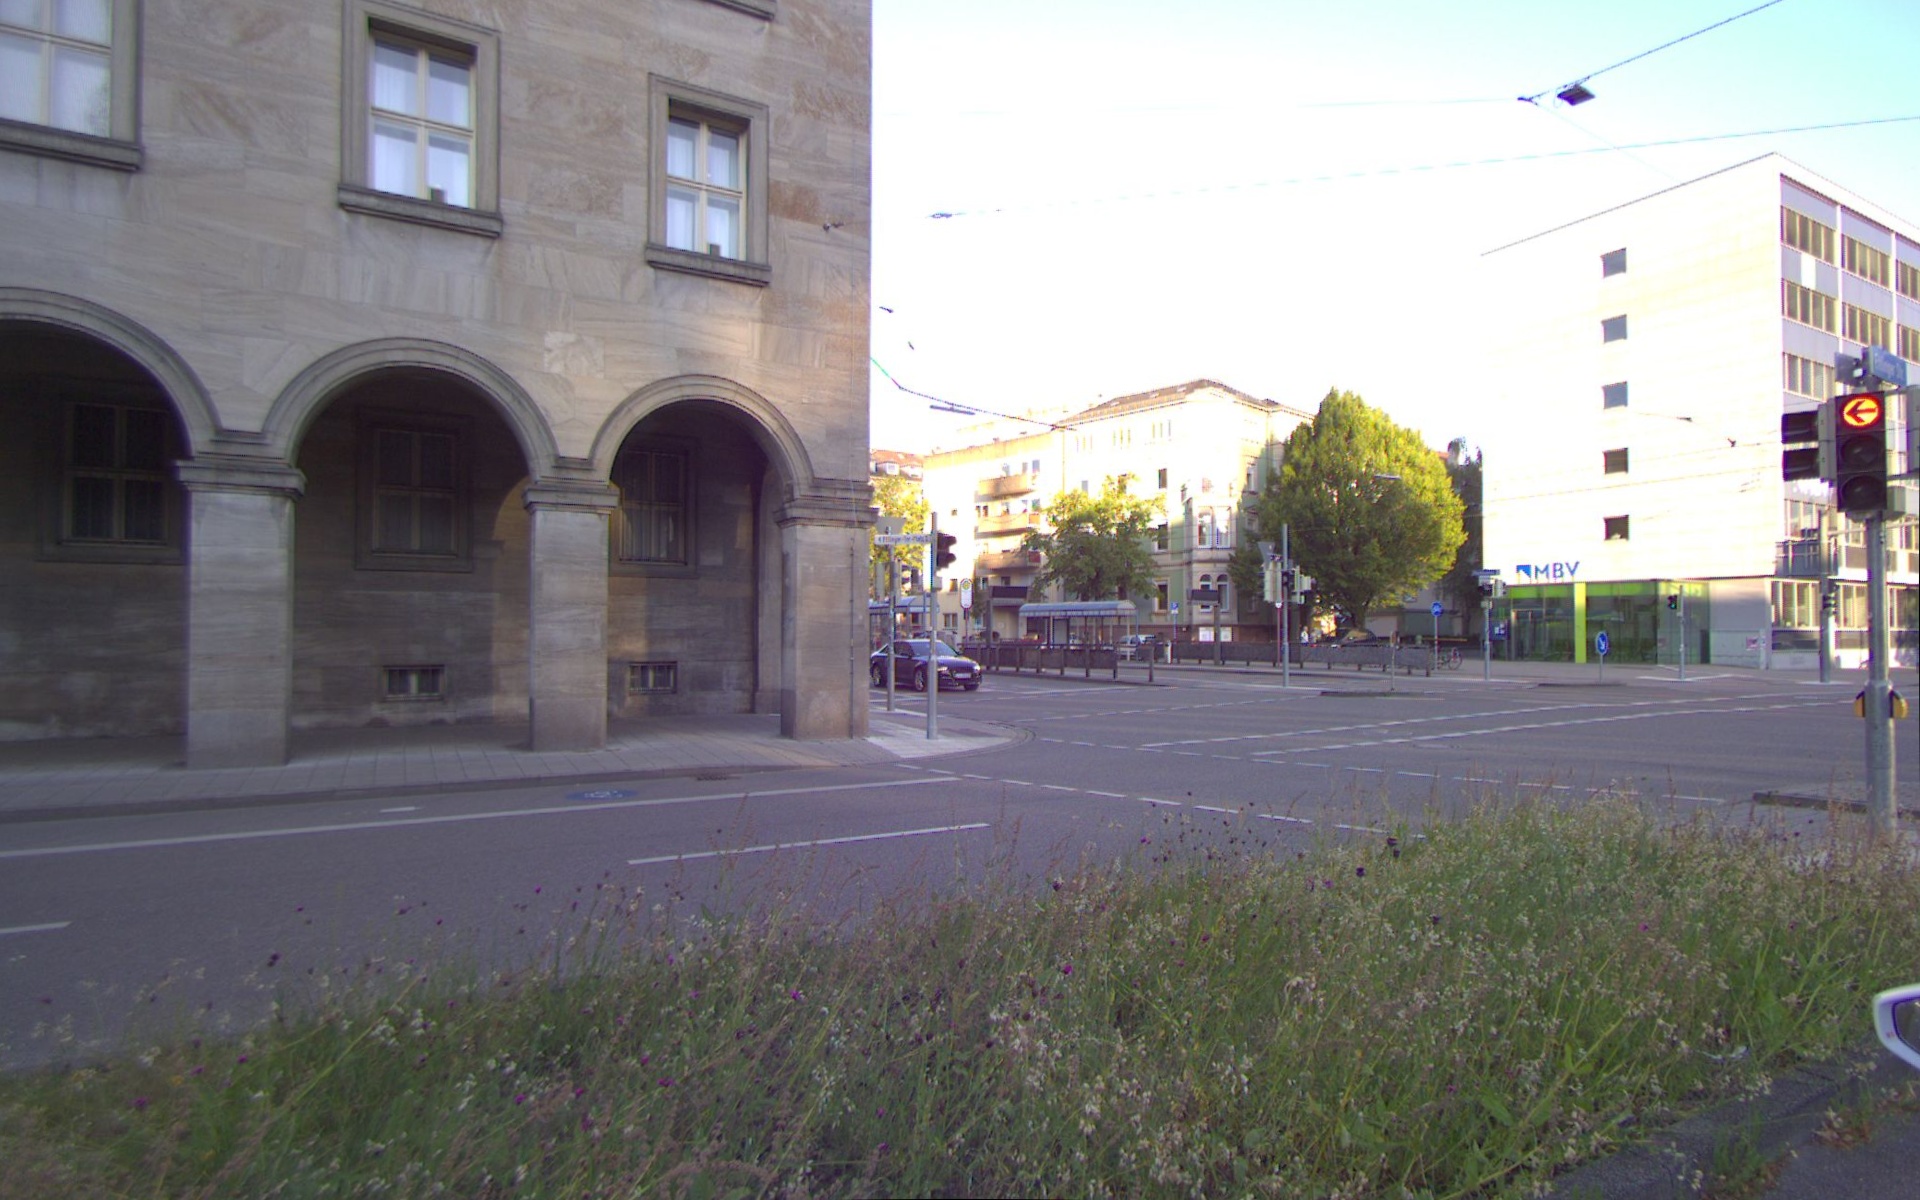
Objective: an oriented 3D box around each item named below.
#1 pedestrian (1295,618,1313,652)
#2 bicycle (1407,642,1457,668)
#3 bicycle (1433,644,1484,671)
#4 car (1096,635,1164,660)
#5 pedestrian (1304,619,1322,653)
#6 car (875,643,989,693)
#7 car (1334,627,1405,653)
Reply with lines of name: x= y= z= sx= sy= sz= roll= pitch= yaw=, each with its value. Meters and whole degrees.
pedestrian: x=18.623 y=1.906 z=54.365 sx=0.718 sy=1.813 sz=0.634 roll=2 pitch=-2 yaw=-44
bicycle: x=20.993 y=2.428 z=44.695 sx=2.183 sy=1.127 sz=0.834 roll=1 pitch=-2 yaw=-26
bicycle: x=21.634 y=2.471 z=43.553 sx=2.183 sy=1.127 sz=0.834 roll=1 pitch=-2 yaw=-26
car: x=10.001 y=2.772 z=59.235 sx=3.545 sy=1.390 sz=1.830 roll=-2 pitch=-3 yaw=45
pedestrian: x=19.248 y=1.968 z=54.790 sx=0.718 sy=1.813 sz=0.634 roll=2 pitch=-2 yaw=-43
car: x=-0.910 y=1.955 z=29.681 sx=1.791 sy=1.344 sz=4.120 roll=1 pitch=-2 yaw=-27
car: x=22.316 y=2.178 z=54.732 sx=3.553 sy=1.390 sz=1.826 roll=1 pitch=-2 yaw=-32
